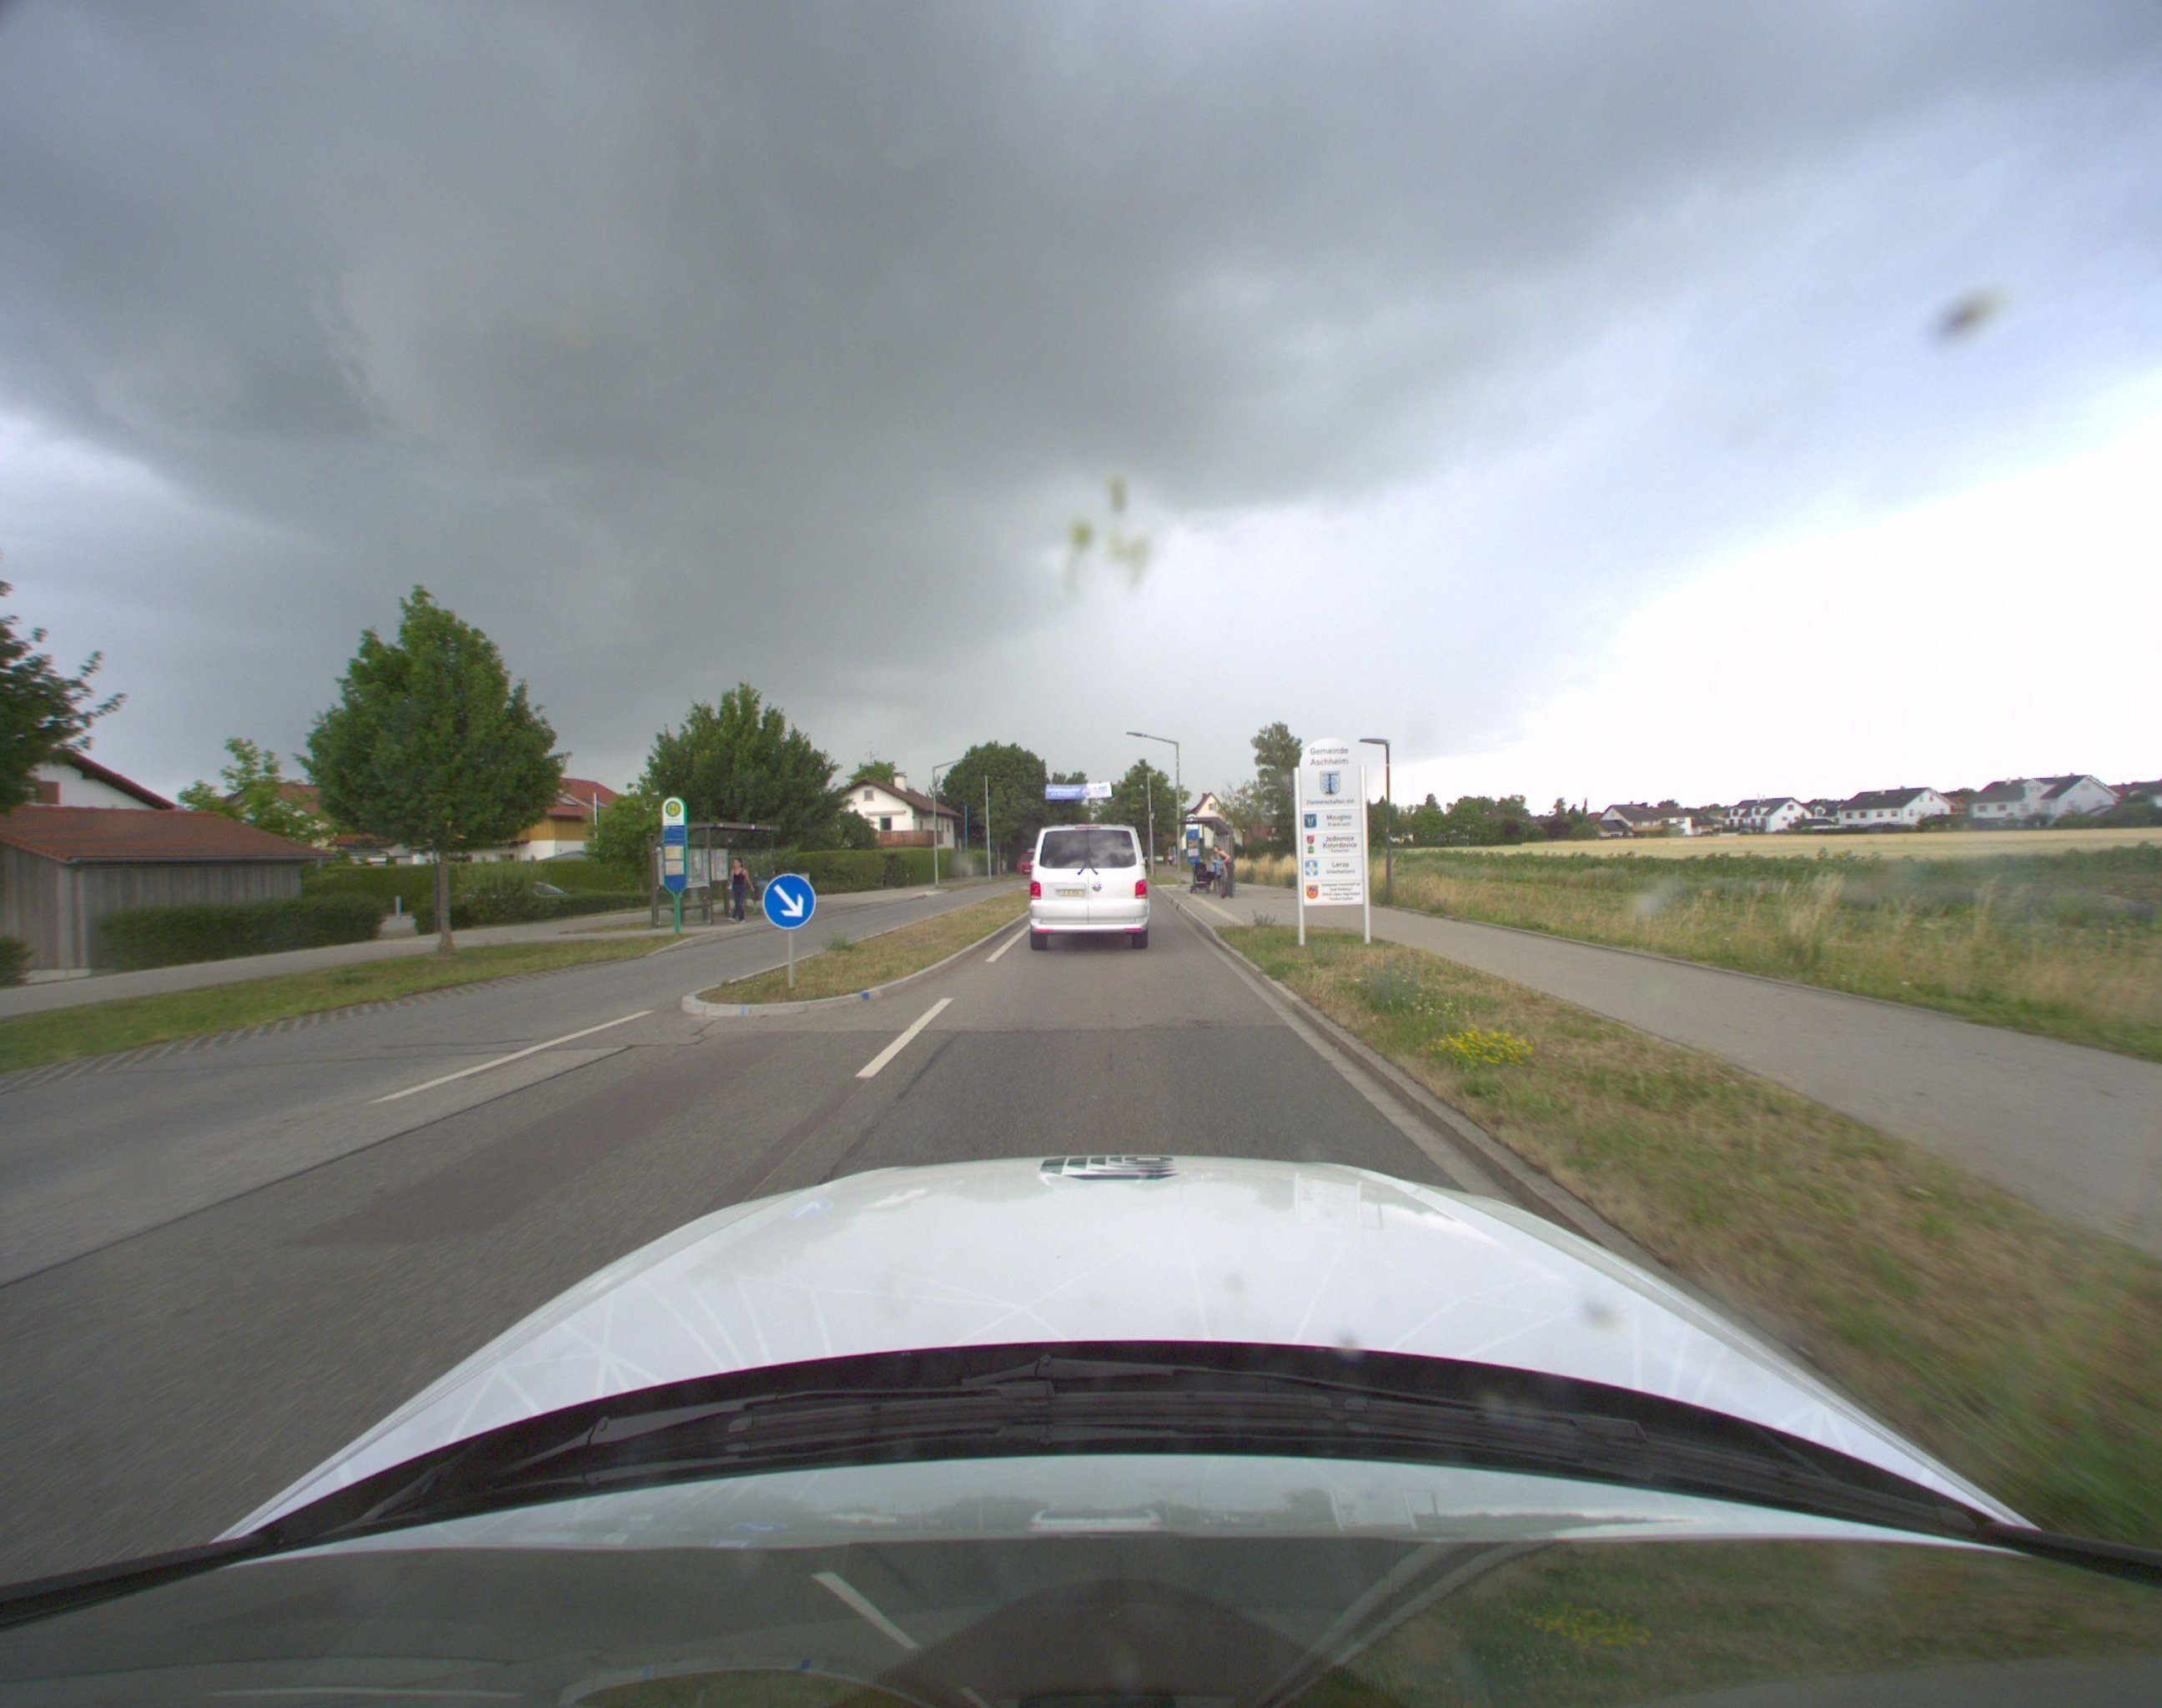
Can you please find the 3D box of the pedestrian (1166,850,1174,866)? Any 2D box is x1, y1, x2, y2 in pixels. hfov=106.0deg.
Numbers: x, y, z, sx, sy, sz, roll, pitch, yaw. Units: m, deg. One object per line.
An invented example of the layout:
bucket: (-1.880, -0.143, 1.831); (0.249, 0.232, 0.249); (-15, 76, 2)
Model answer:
pedestrian: (9.673, 0.415, 88.949); (0.833, 1.755, 0.871); (-1, -1, 6)

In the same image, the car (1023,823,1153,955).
car: (0.152, 0.535, 13.982); (1.881, 1.912, 4.001); (-1, -1, 1)

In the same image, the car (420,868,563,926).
car: (-22.574, 1.632, 31.300); (3.974, 2.013, 2.000); (-2, 0, -1)

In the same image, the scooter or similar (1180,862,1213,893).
scooter or similar: (3.945, 0.791, 27.779); (0.699, 1.062, 1.067); (-1, -1, 38)

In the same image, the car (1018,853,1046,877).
car: (-4.169, 0.923, 70.147); (1.822, 2.030, 5.049); (0, 0, 3)

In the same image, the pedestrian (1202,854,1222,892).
pedestrian: (4.552, 0.649, 28.185); (0.660, 1.302, 0.506); (0, -1, 11)

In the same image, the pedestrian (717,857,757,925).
pedestrian: (-8.550, 0.895, 20.247); (0.586, 1.636, 0.813); (-2, 0, 1)

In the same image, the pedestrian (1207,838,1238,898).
pedestrian: (4.289, 0.414, 24.653); (0.774, 1.792, 0.783); (0, -1, 23)
